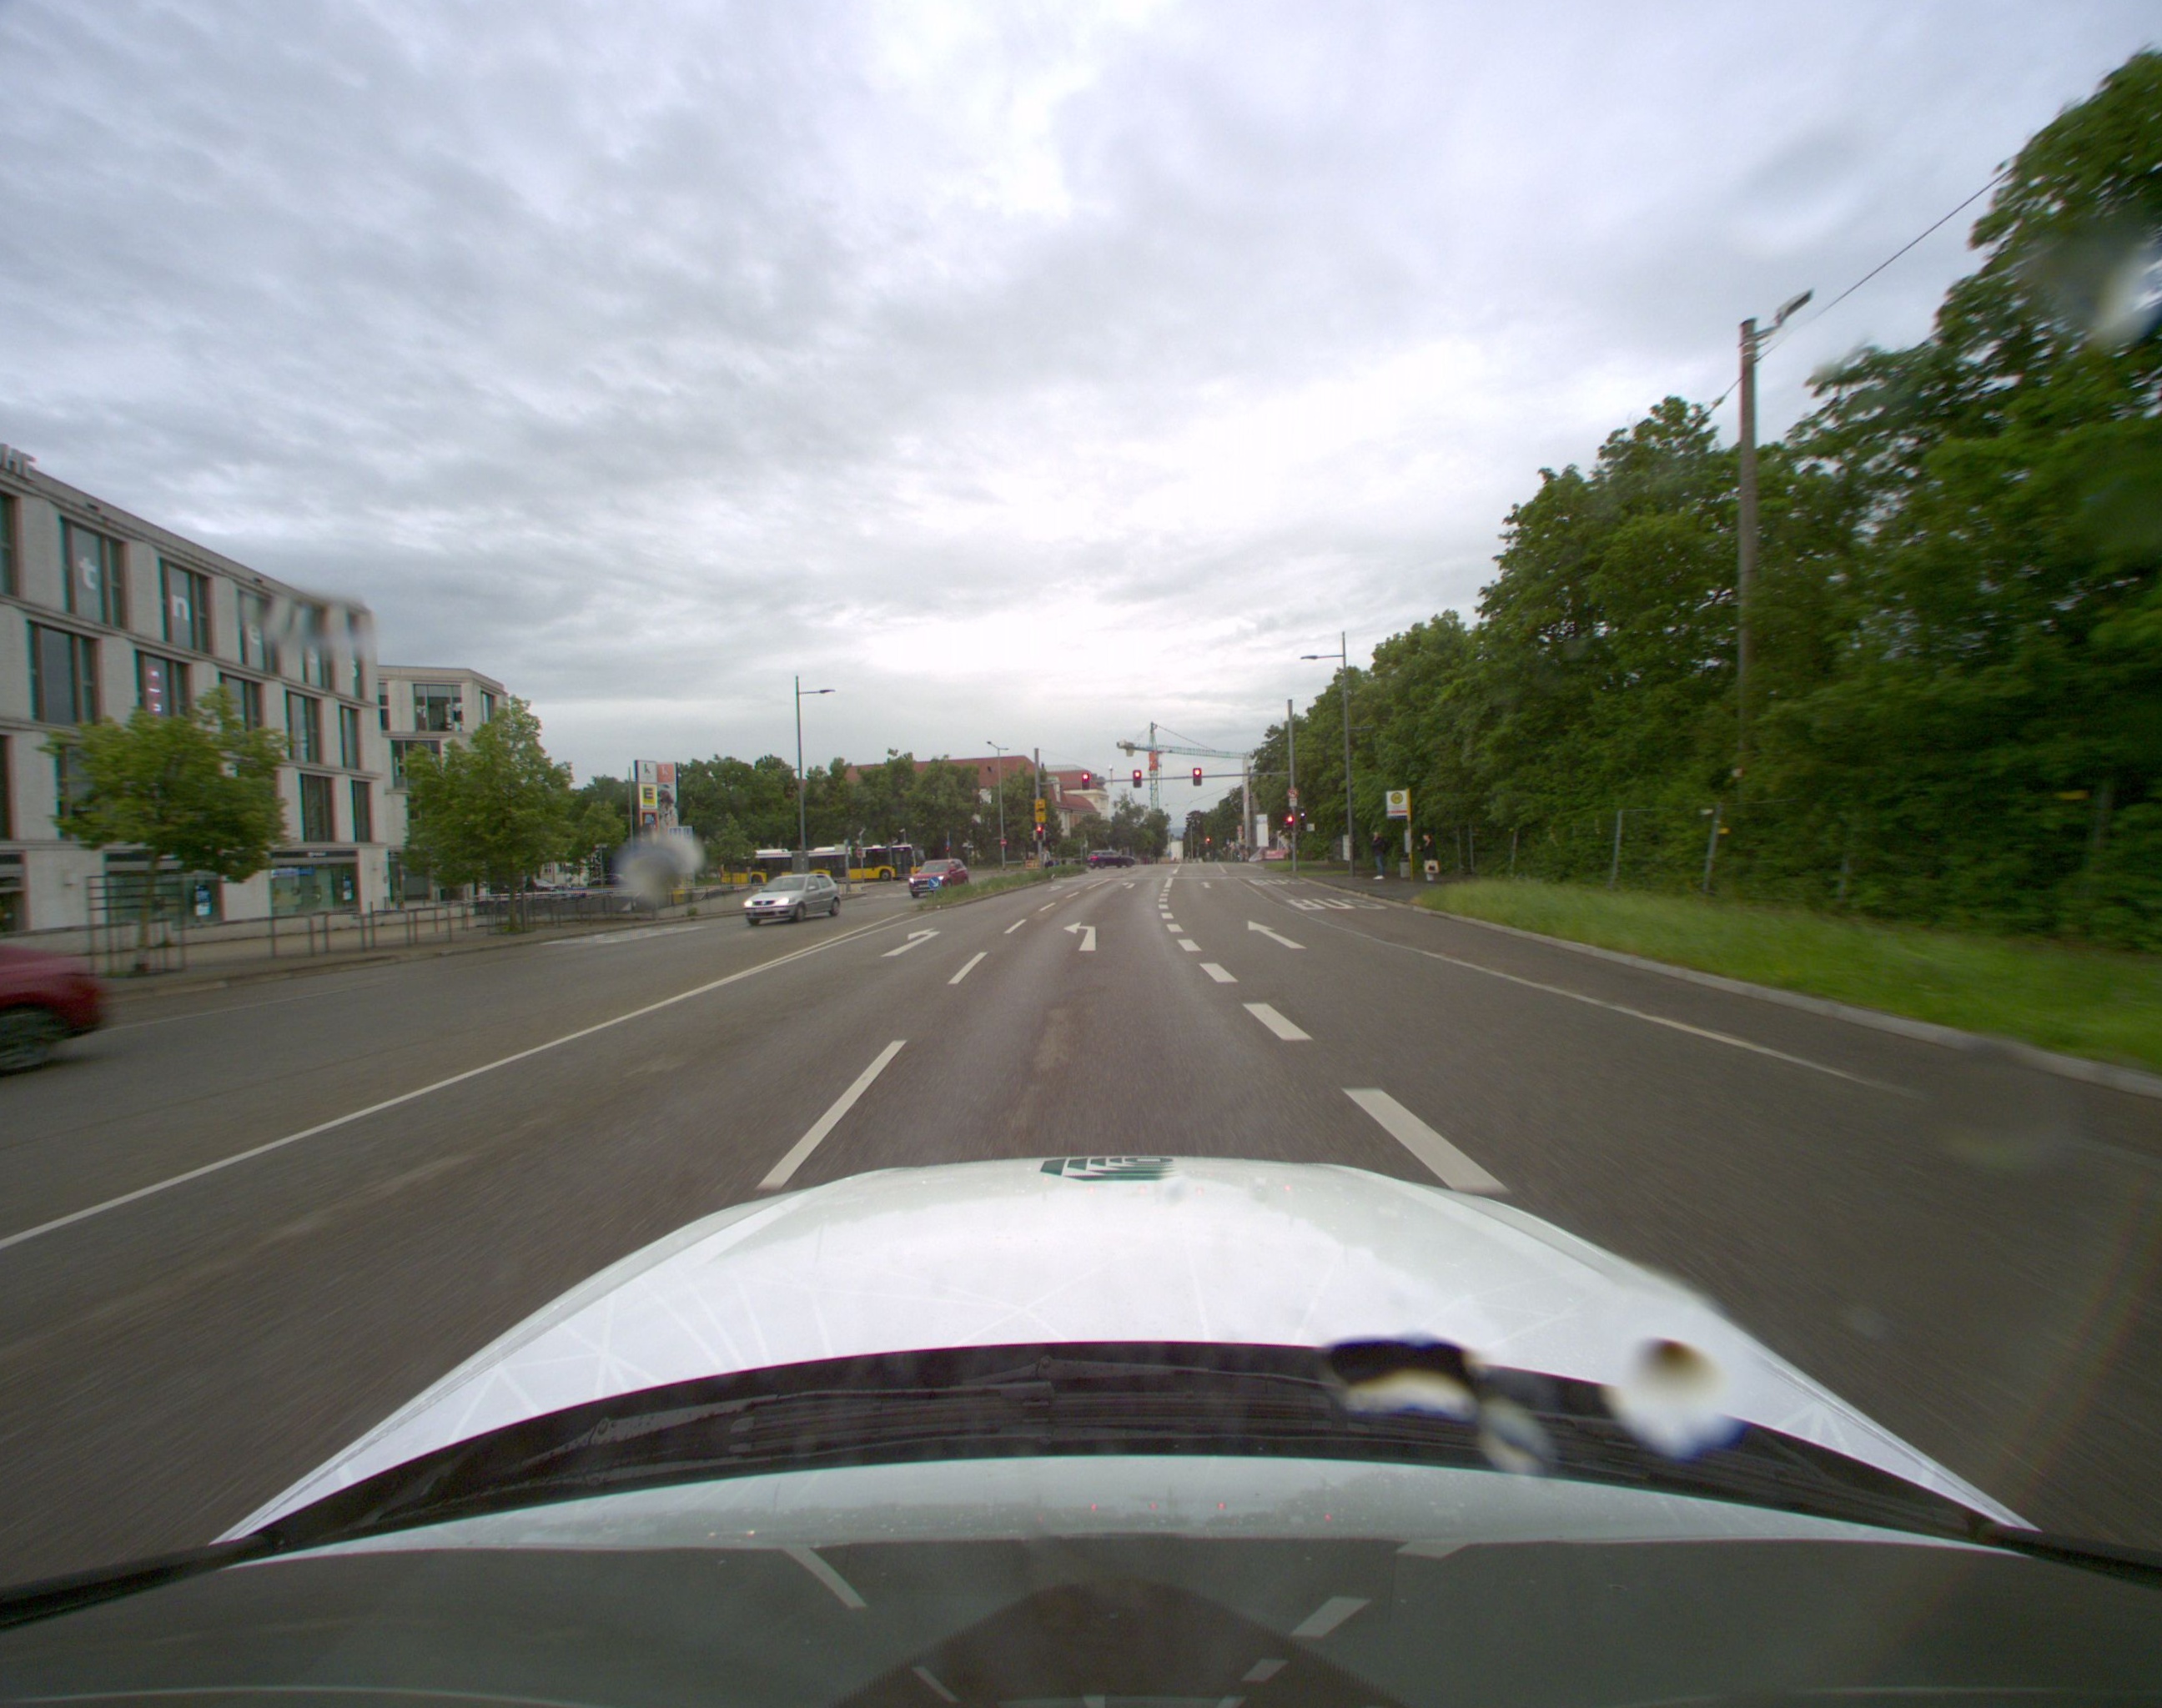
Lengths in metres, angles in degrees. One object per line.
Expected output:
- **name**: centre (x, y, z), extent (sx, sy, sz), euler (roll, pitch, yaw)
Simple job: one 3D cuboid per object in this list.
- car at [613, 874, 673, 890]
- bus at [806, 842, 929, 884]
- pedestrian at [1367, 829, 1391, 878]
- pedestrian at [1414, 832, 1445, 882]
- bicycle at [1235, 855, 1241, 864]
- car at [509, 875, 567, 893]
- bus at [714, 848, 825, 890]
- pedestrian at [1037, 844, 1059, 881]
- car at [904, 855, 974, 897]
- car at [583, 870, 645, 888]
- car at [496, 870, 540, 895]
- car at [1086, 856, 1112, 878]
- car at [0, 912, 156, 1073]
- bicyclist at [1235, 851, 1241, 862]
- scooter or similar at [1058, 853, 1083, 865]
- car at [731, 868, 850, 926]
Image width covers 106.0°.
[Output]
- **car**: centre (-40.852, 2.584, 76.044), extent (4.548, 1.425, 2.004), euler (0, -1, 7)
- **bus**: centre (-18.121, 0.768, 69.374), extent (9.666, 3.103, 2.905), euler (-2, 0, 9)
- **pedestrian**: centre (11.916, -0.017, 32.532), extent (0.638, 1.901, 0.719), euler (-3, 0, 2)
- **pedestrian**: centre (11.932, 0.099, 27.878), extent (0.673, 1.658, 0.793), euler (-3, 0, 2)
- **bicycle**: centre (22.687, 0.790, 117.738), extent (0.716, 1.193, 1.760), euler (0, -1, 9)
- **car**: centre (-47.021, 2.597, 70.497), extent (3.947, 1.425, 1.671), euler (-2, 0, 5)
- **bus**: centre (-27.040, 1.278, 70.762), extent (8.500, 3.307, 2.904), euler (-2, 0, 8)
- **pedestrian**: centre (-1.885, 0.497, 46.732), extent (0.934, 2.013, 0.850), euler (-5, -1, 12)
- **car**: centre (-6.715, 0.995, 38.939), extent (1.843, 1.683, 4.747), euler (-5, 0, 7)
- **car**: centre (-41.736, 2.243, 72.789), extent (4.424, 1.425, 2.003), euler (-2, 0, 6)
- **car**: centre (-42.855, 2.161, 62.086), extent (1.780, 1.731, 3.972), euler (-2, 0, -21)
- **car**: centre (1.711, 1.225, 75.132), extent (1.934, 2.021, 4.560), euler (0, -1, 7)
- **car**: centre (-11.178, 1.422, 6.630), extent (1.822, 1.416, 4.475), euler (-5, 0, 7)
- **bicyclist**: centre (22.686, 0.372, 117.723), extent (0.716, 1.564, 1.145), euler (0, -1, 9)
- **scooter or similar**: centre (-1.360, 0.648, 107.095), extent (3.072, 1.440, 0.950), euler (-3, 0, 5)
- **car**: centre (-8.742, 1.252, 24.888), extent (1.753, 1.416, 3.887), euler (-5, 0, 7)
